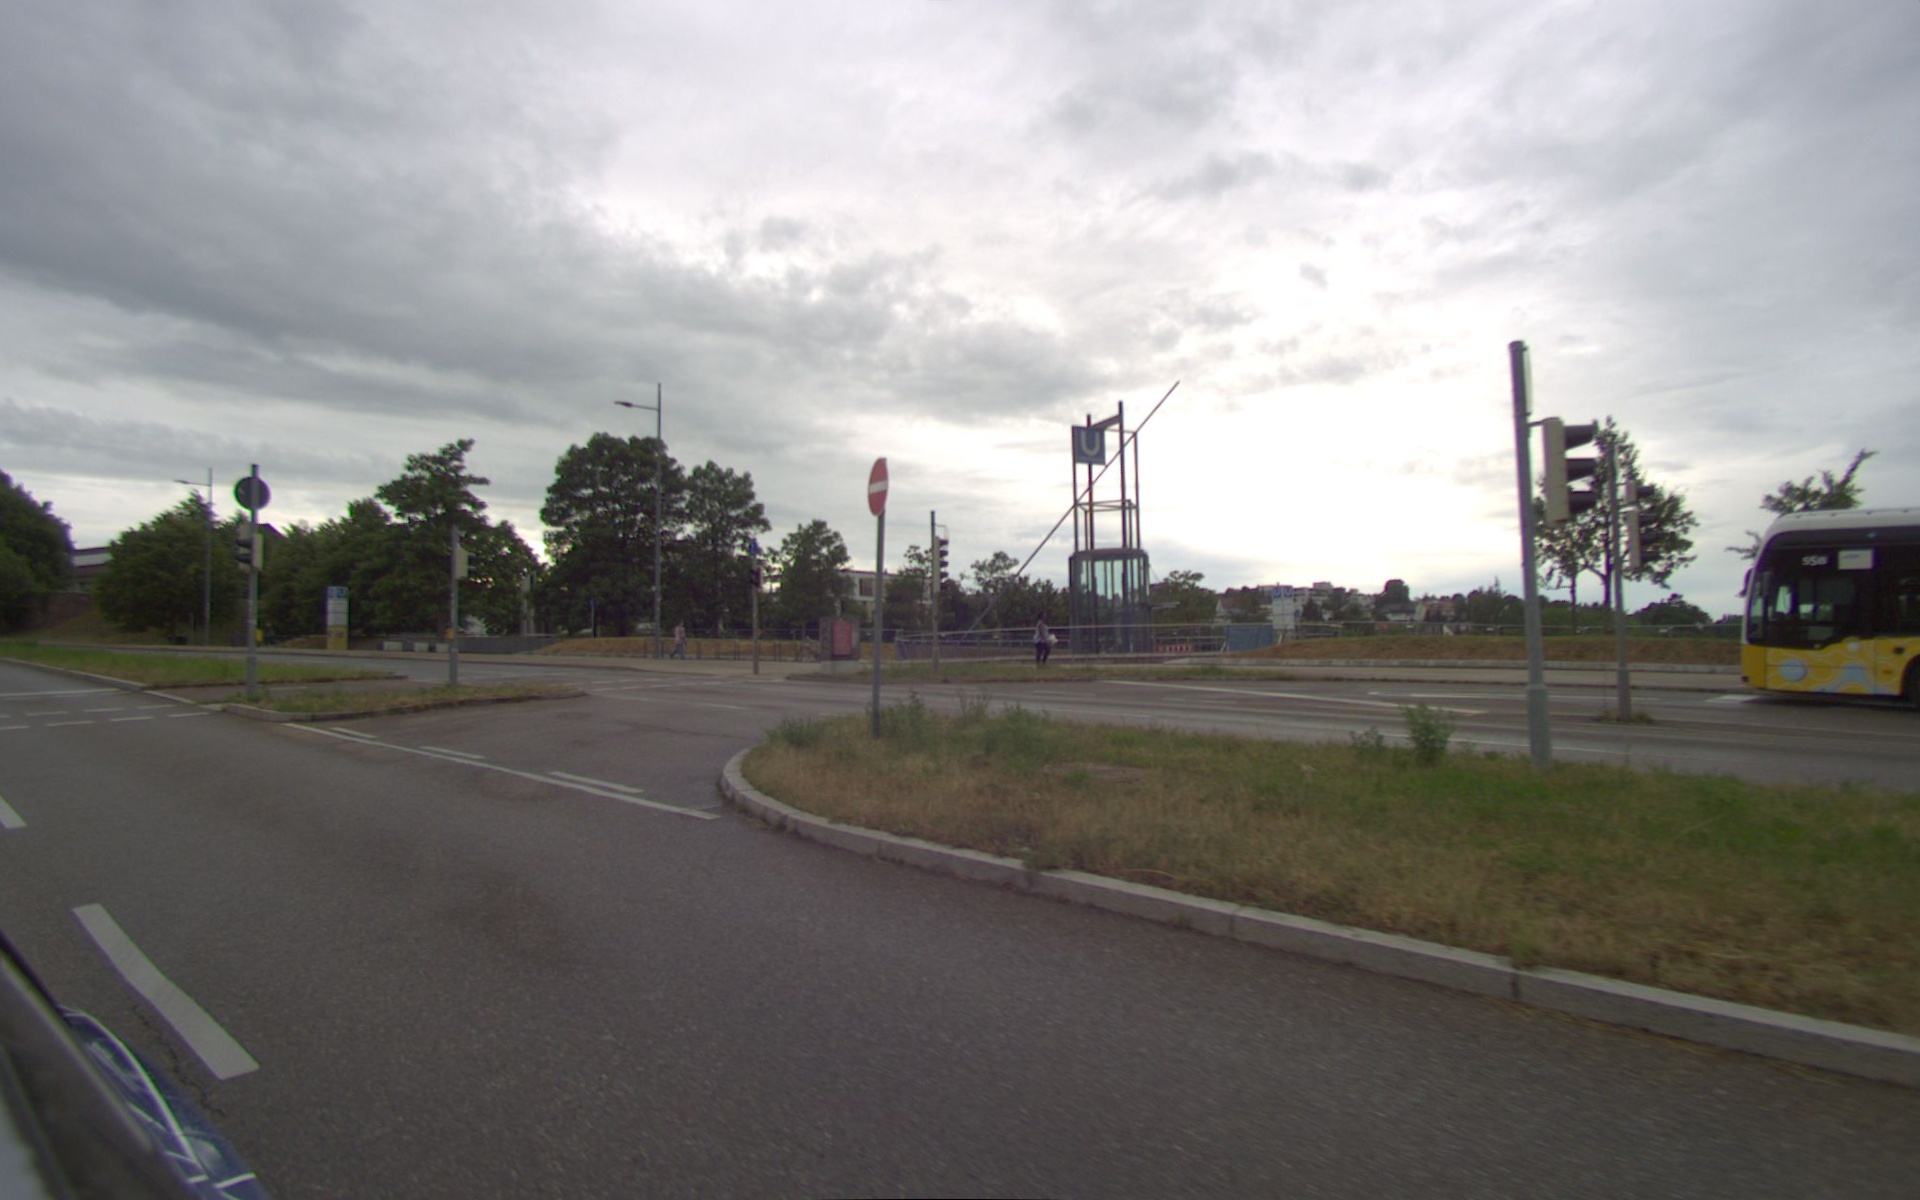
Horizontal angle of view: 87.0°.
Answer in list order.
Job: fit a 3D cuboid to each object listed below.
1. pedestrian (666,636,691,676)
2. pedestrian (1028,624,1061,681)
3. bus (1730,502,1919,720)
[{"bbox_3d":[-11.526,2.299,41.420,0.811,1.606,0.608,-5,-4,36],"label":"pedestrian"},{"bbox_3d":[2.453,1.515,29.259,0.669,1.606,0.815,-4,-4,23],"label":"pedestrian"},{"bbox_3d":[18.067,0.144,15.181,2.787,3.499,9.988,0,-1,-41],"label":"bus"}]
